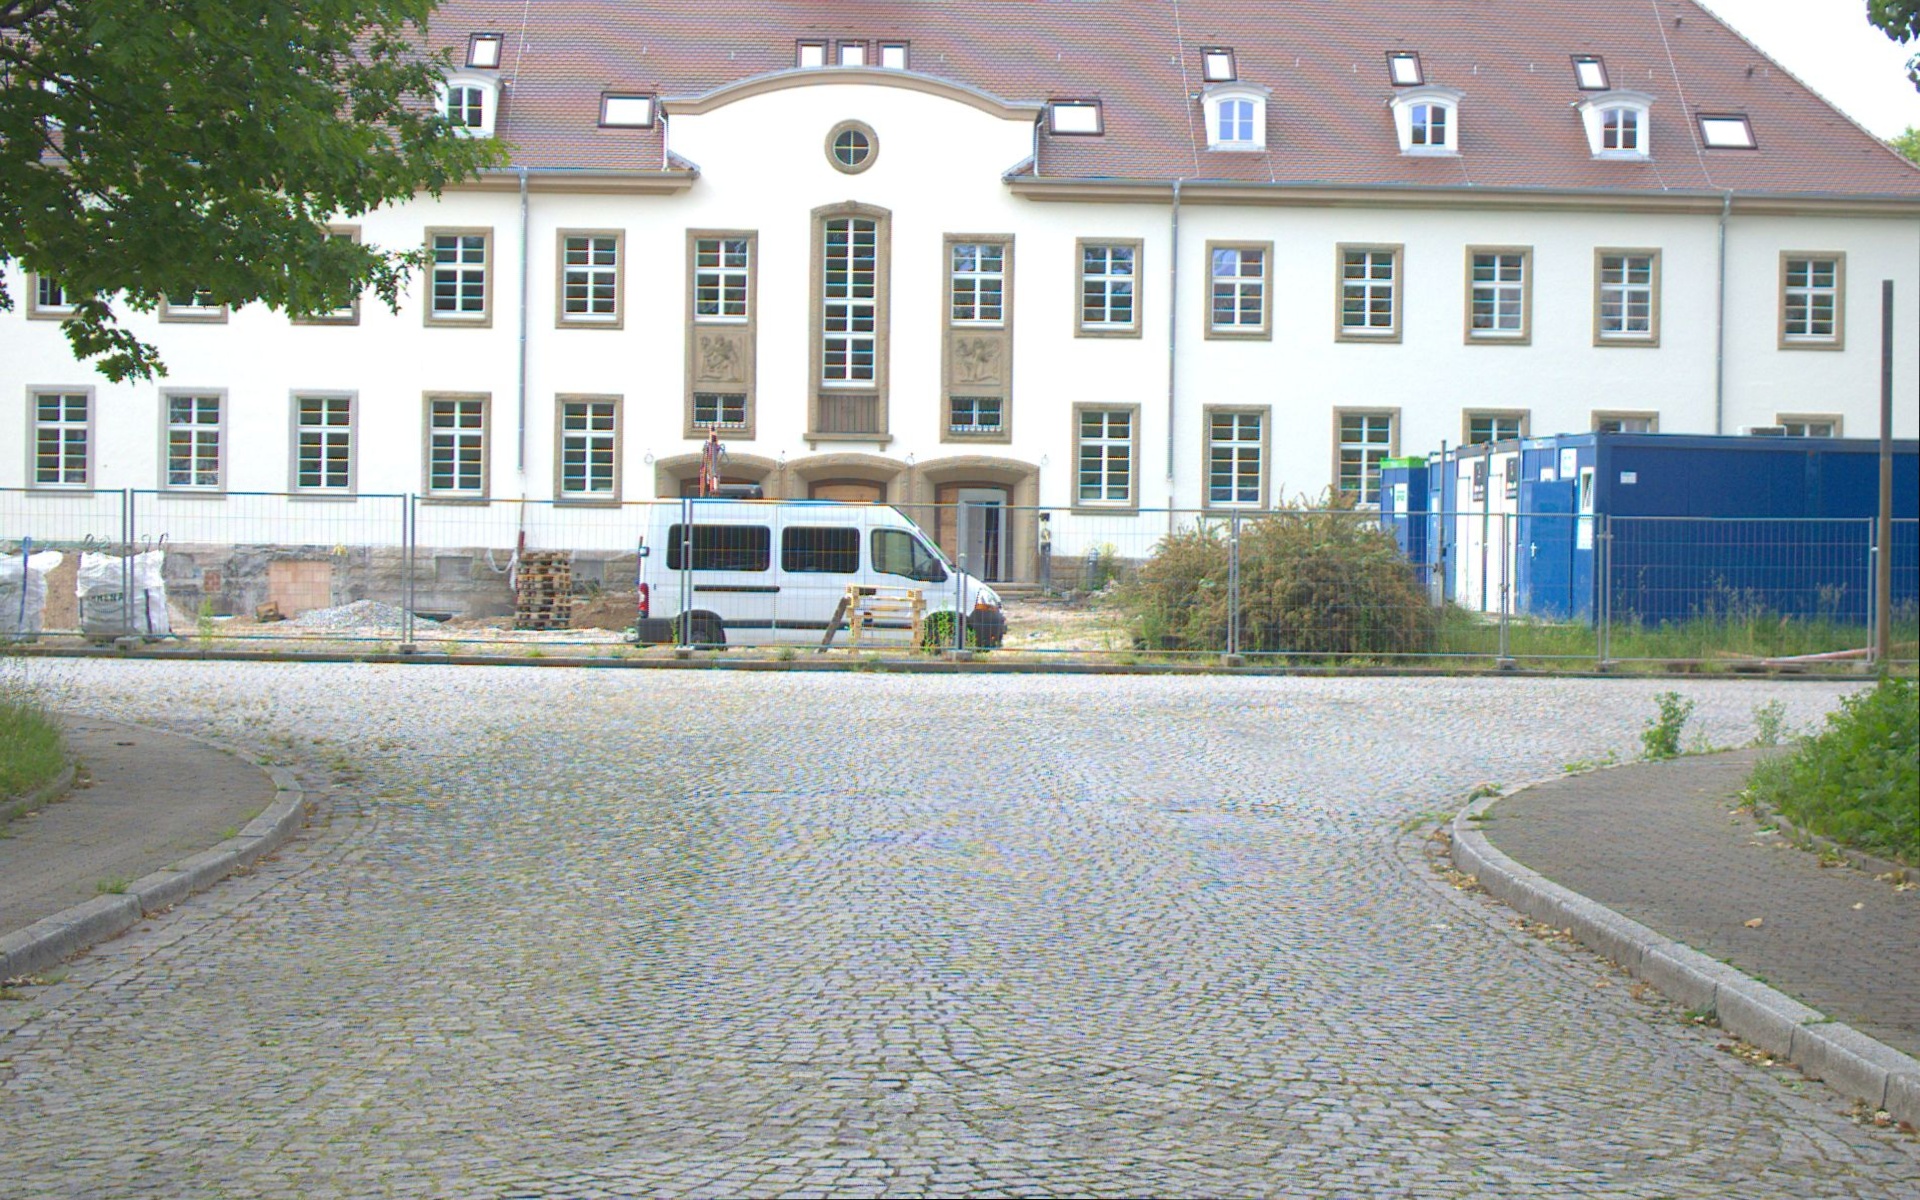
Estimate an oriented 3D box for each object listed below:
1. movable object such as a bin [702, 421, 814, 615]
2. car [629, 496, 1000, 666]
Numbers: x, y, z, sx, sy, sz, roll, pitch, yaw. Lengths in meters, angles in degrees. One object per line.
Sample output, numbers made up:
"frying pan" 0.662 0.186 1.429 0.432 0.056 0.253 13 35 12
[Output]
"movable object such as a bin" -4.162 -1.653 70.070 1.993 3.758 5.319 1 1 -6
"car" -2.084 -0.284 50.088 5.262 2.336 1.910 1 1 -1
